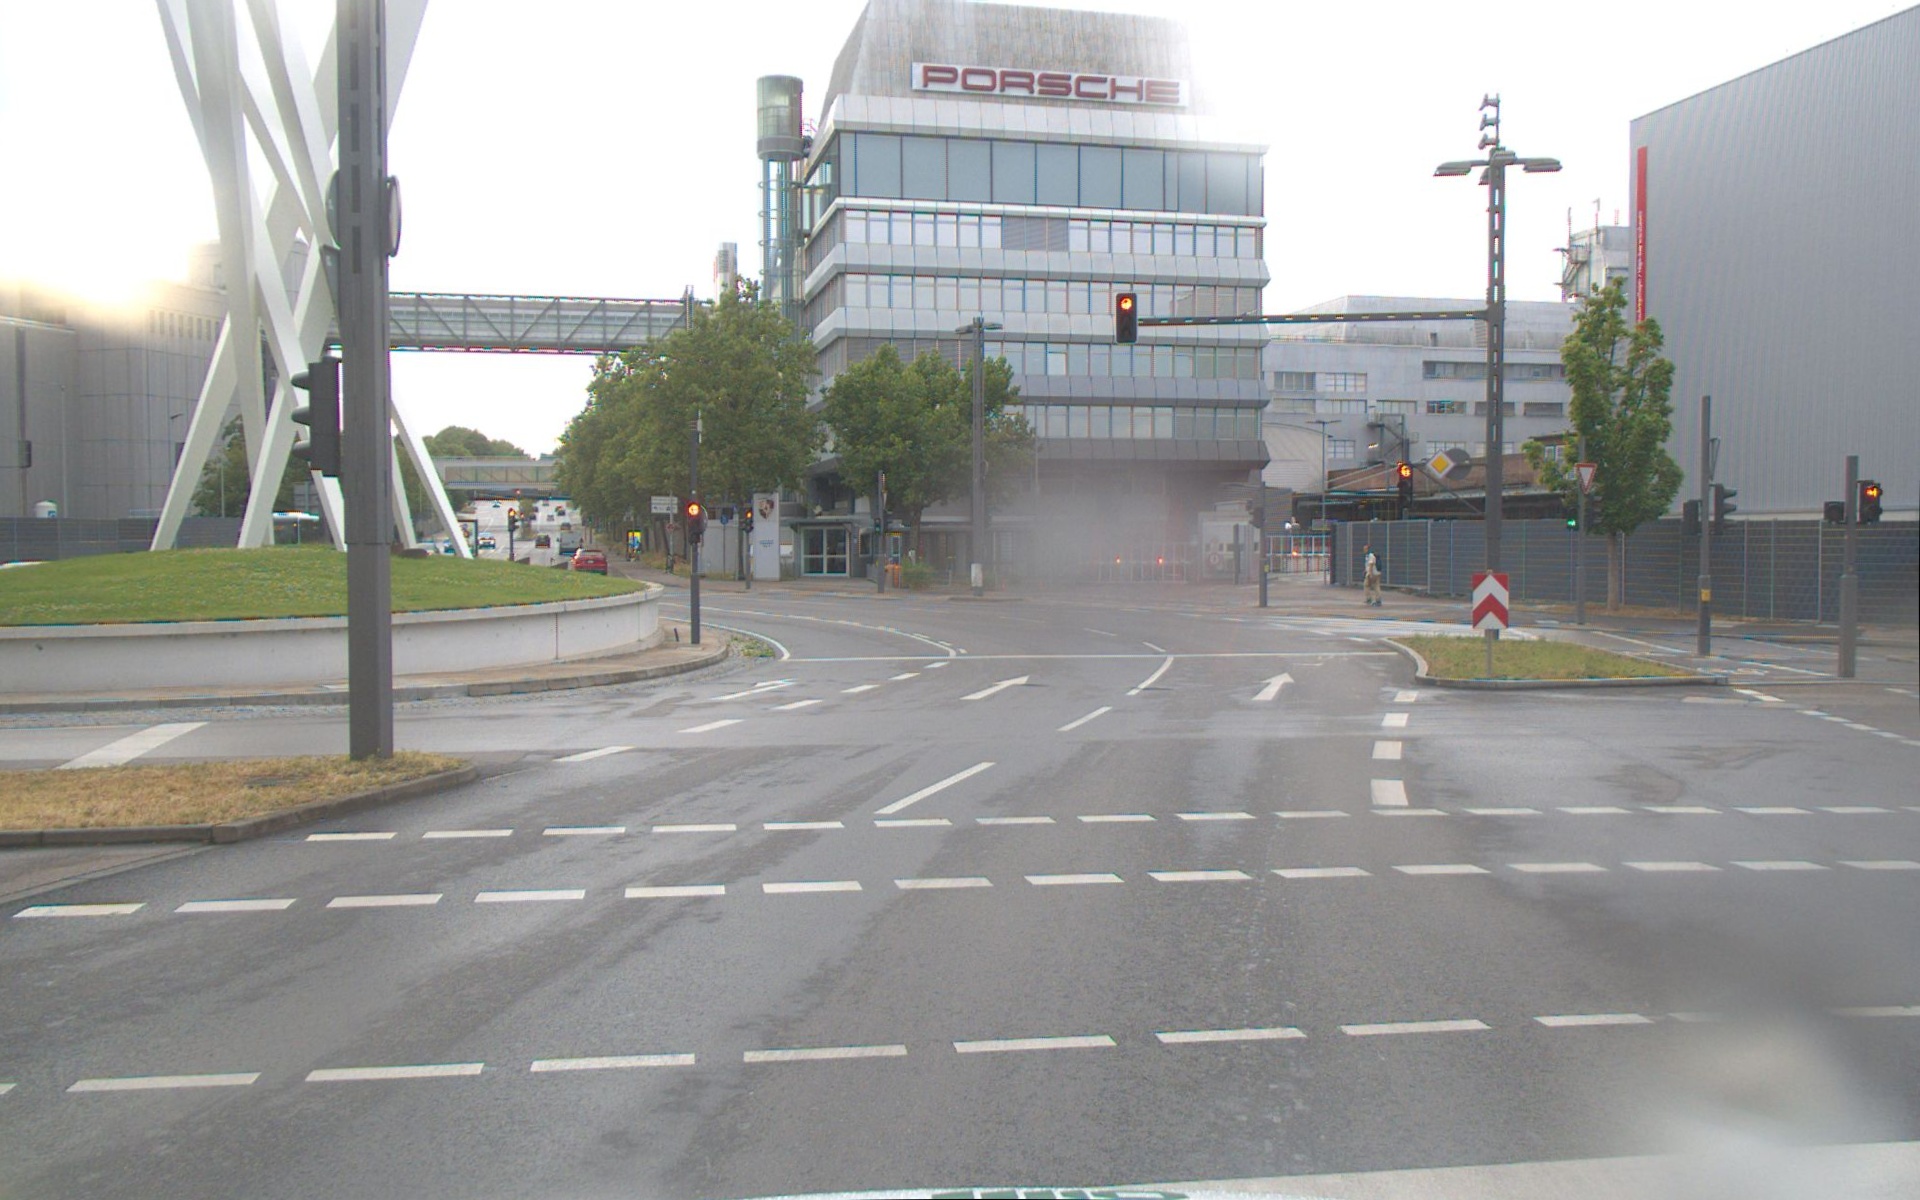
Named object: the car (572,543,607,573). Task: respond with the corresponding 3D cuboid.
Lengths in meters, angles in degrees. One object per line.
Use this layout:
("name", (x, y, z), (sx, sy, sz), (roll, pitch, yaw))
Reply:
("car", (-19.608, -2.194, 87.598), (1.741, 1.490, 3.721), (0, 0, -12))

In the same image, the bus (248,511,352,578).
("bus", (-34.655, -2.799, 87.333), (2.621, 3.257, 12.638), (0, 1, -10))

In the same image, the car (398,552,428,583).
("car", (-37.994, -2.253, 114.863), (1.616, 2.049, 3.747), (0, 1, -13))

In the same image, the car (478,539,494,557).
("car", (-51.997, -5.701, 181.373), (1.600, 1.848, 3.718), (0, 1, -15))

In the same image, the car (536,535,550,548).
("car", (-47.628, -6.645, 188.893), (1.531, 1.311, 3.400), (0, 0, -15))

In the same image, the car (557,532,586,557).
("car", (-36.679, -5.239, 156.066), (2.199, 2.145, 4.926), (0, -1, -19))

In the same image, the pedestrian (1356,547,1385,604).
("pedestrian", (11.991, -0.710, 48.279), (0.791, 1.639, 0.770), (-1, -1, 16))
